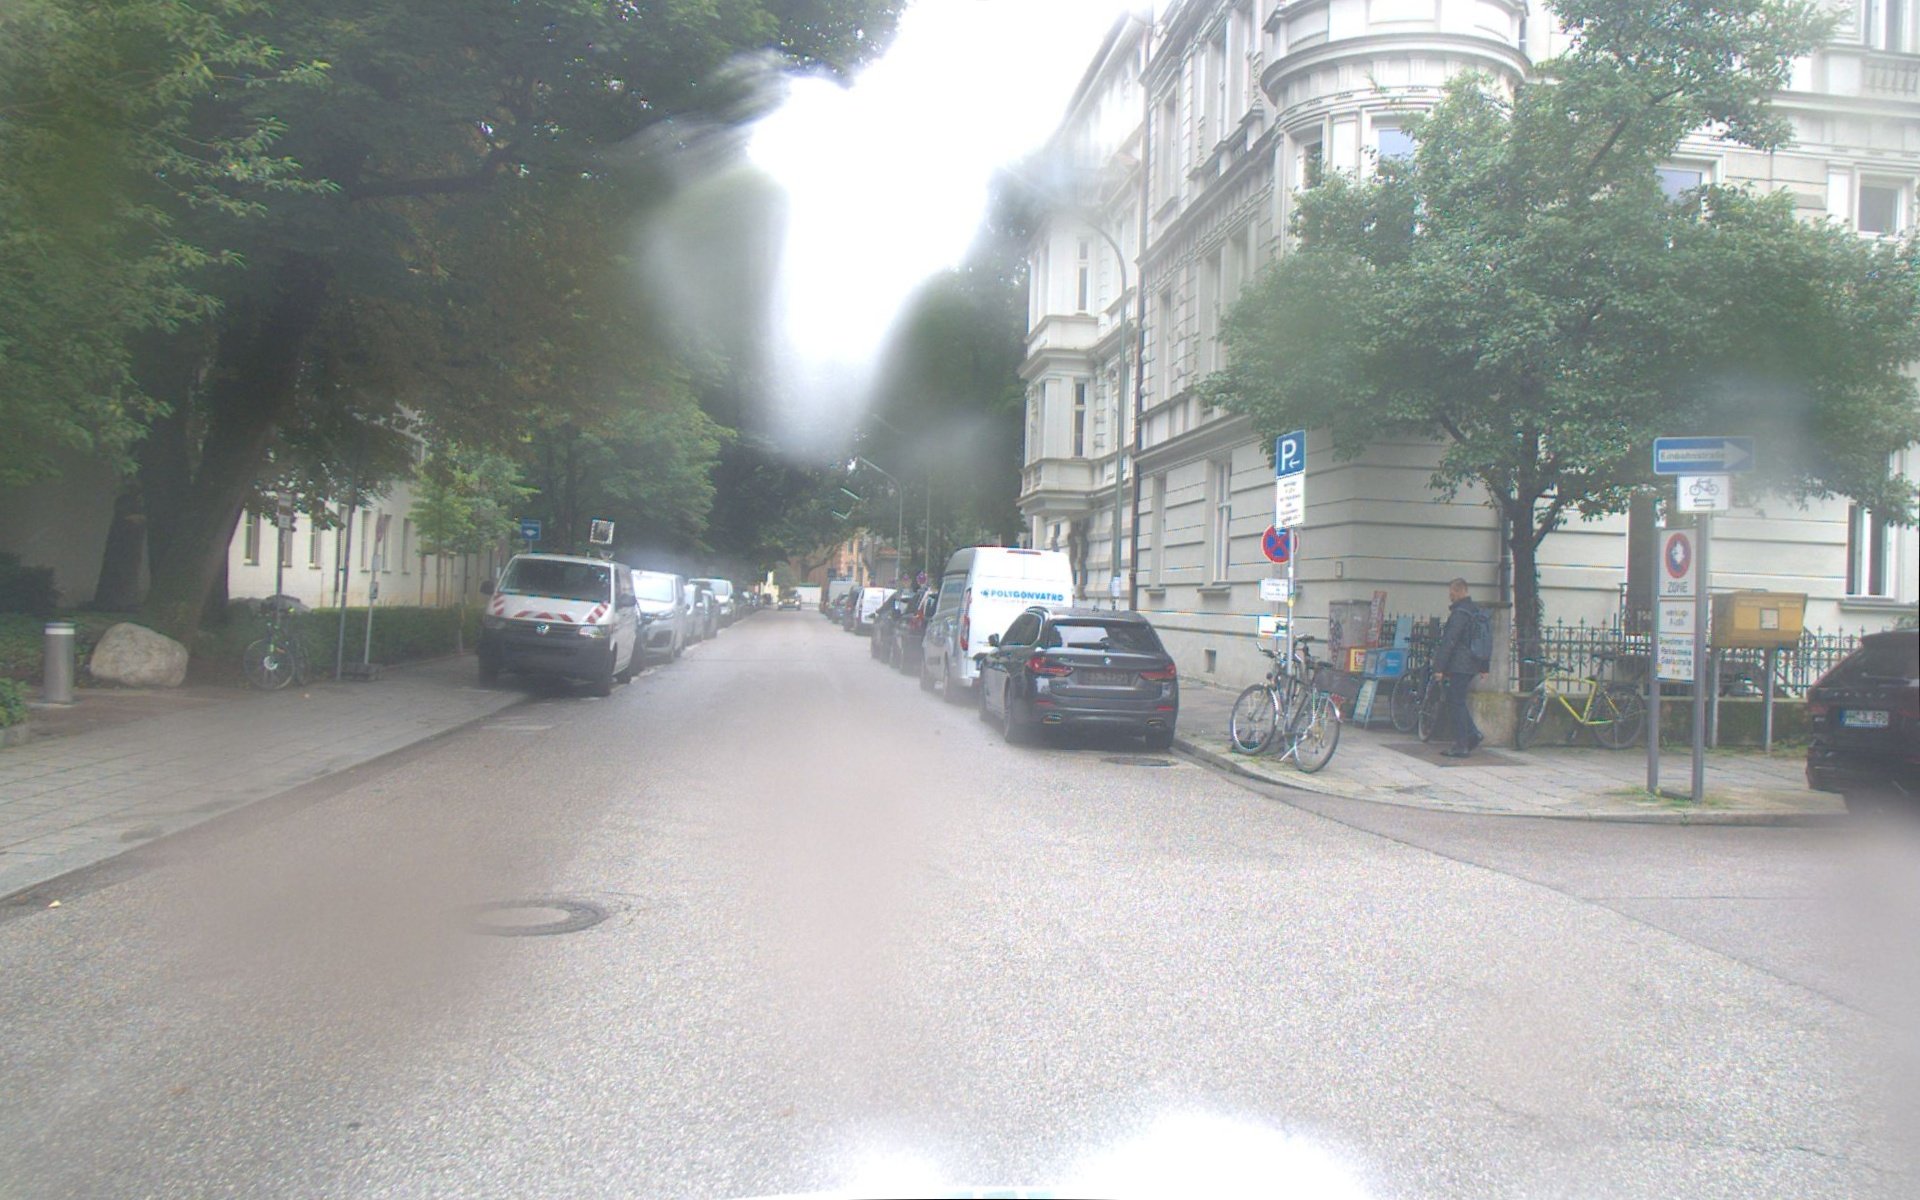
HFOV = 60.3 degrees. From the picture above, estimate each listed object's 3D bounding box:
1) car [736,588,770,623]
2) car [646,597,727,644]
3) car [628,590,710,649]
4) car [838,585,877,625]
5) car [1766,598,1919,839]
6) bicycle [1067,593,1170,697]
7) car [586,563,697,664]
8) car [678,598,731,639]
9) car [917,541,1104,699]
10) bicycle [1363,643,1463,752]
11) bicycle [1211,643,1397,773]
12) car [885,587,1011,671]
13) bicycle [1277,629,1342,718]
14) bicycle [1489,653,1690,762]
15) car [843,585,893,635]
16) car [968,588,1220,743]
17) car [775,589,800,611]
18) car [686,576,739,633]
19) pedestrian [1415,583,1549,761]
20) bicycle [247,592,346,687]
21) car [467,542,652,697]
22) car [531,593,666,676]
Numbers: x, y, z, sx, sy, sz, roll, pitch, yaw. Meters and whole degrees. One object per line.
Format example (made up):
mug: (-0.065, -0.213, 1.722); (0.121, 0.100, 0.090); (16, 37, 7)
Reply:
car: (-13.725, 0.330, 109.592); (2.010, 2.192, 4.304); (3, 0, -9)
car: (-8.720, 0.632, 53.063); (2.076, 1.352, 4.135); (3, 0, -4)
car: (-8.413, 0.532, 48.148); (2.030, 1.546, 4.231); (3, 0, -7)
car: (-5.484, 0.234, 87.979); (1.954, 2.049, 3.997); (1, 0, -4)
car: (9.027, 0.958, 12.663); (4.944, 1.681, 1.939); (2, -4, -9)
bicycle: (2.451, 0.678, 25.837); (0.698, 1.542, 2.024); (2, 0, -23)
car: (-6.999, 0.268, 36.843); (2.143, 1.990, 5.156); (3, 0, -9)
car: (-9.475, 0.653, 61.295); (1.786, 1.352, 4.091); (3, 0, -9)
car: (0.666, 0.301, 26.120); (2.162, 2.247, 4.846); (1, 0, -8)
bicycle: (5.018, 1.053, 18.417); (0.421, 1.046, 1.889); (1, 1, -5)
bicycle: (3.271, 0.998, 15.955); (0.644, 1.046, 2.188); (1, 1, -22)
car: (-0.329, 0.576, 34.894); (2.098, 1.658, 4.308); (1, 0, -8)
bicycle: (4.620, 0.948, 21.944); (0.535, 1.079, 1.751); (2, 0, 3)
bicycle: (6.561, 1.117, 17.279); (1.885, 1.046, 0.556); (1, 1, -4)
car: (-3.865, 0.397, 68.875); (1.954, 2.010, 3.997); (1, 0, -4)
car: (1.392, 0.684, 19.202); (2.228, 1.573, 4.582); (0, 0, -4)
car: (-14.923, -0.011, 143.148); (1.954, 1.814, 3.997); (1, 0, -4)
car: (-10.393, 0.177, 69.632); (1.964, 2.224, 4.688); (3, 0, -7)
pedestrian: (5.238, 0.695, 16.605); (0.851, 1.719, 0.963); (1, 0, -37)
bicycle: (-8.452, 0.487, 21.135); (0.620, 1.122, 1.765); (3, -1, -4)
car: (-5.933, 0.252, 25.182); (2.206, 1.990, 5.442); (3, 0, -9)
car: (-6.703, 0.599, 31.043); (2.172, 1.352, 3.940); (3, 0, -9)
